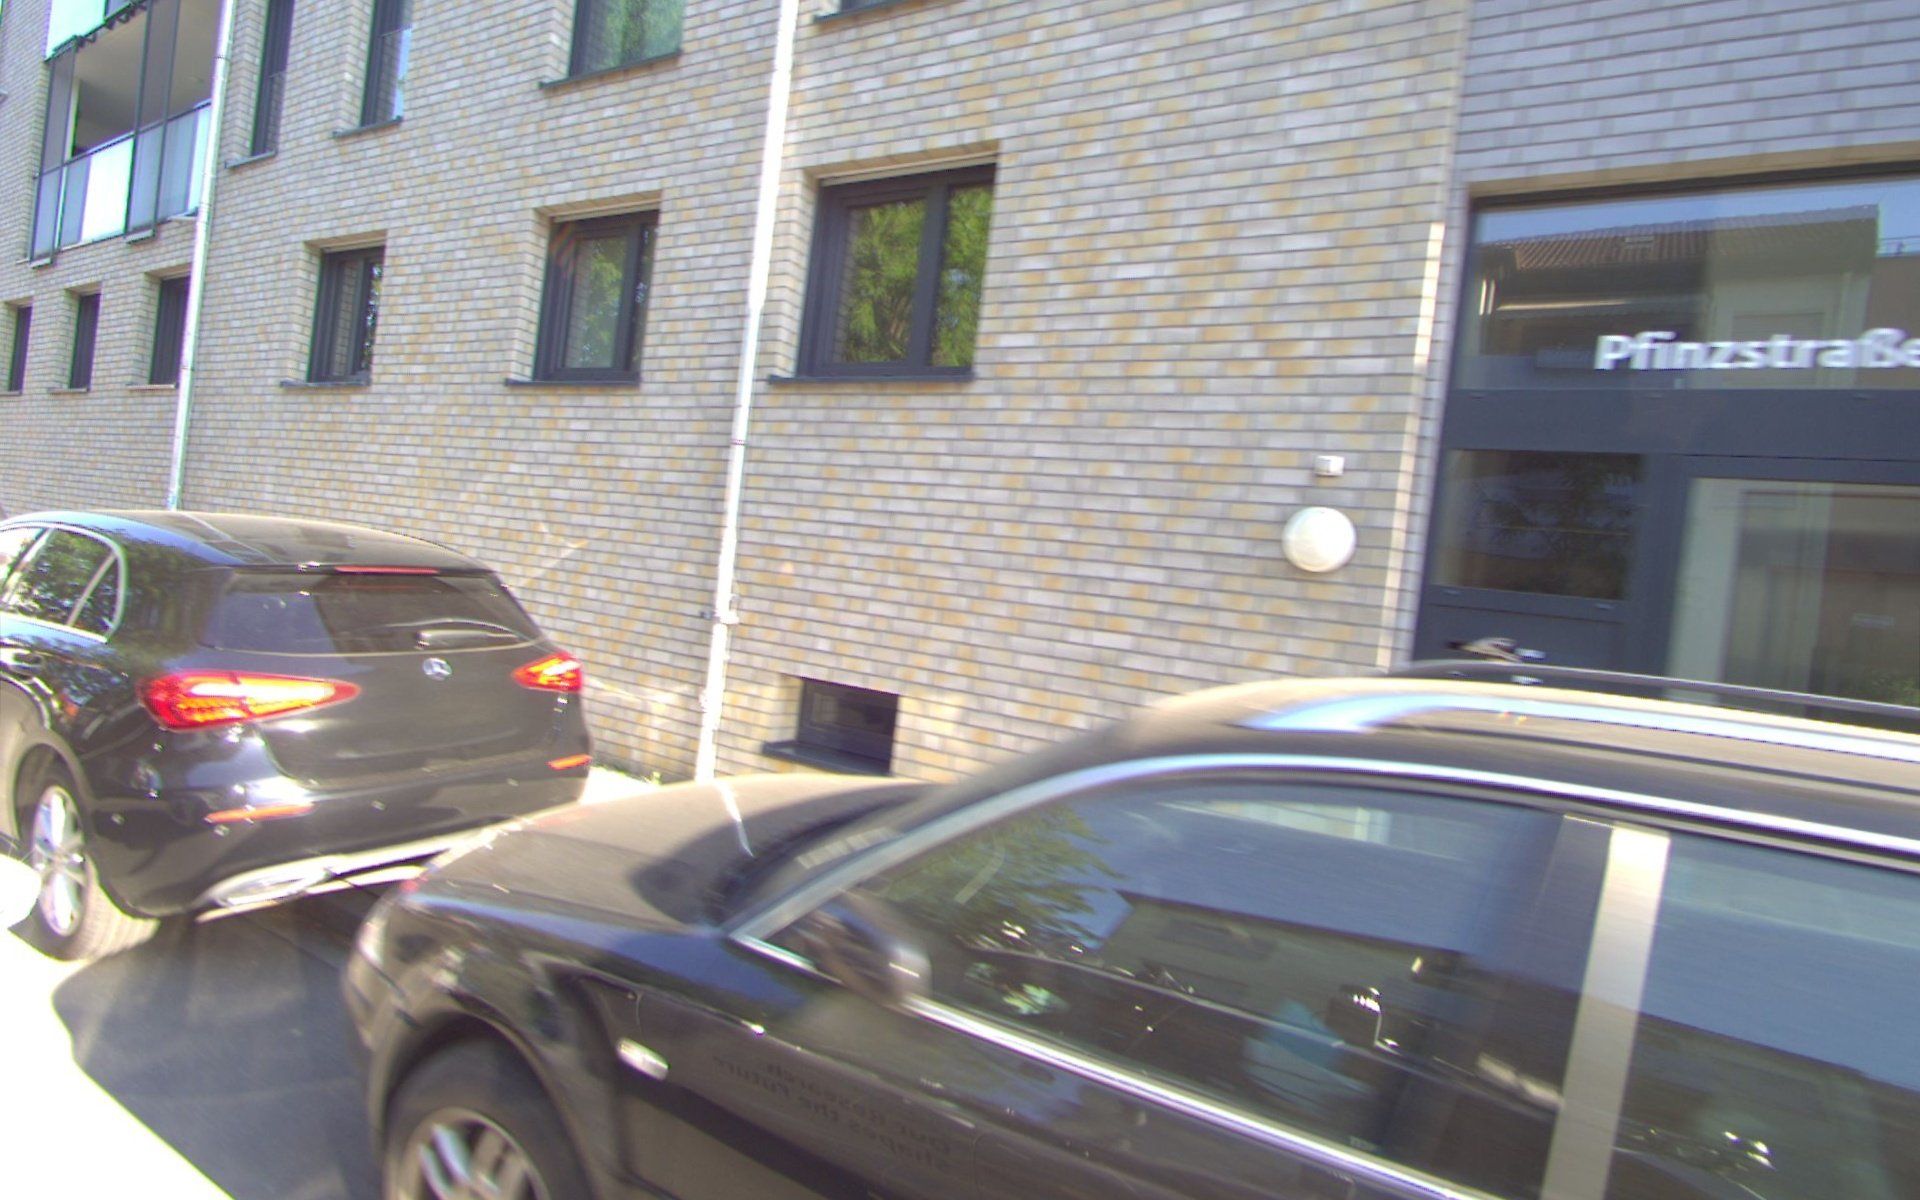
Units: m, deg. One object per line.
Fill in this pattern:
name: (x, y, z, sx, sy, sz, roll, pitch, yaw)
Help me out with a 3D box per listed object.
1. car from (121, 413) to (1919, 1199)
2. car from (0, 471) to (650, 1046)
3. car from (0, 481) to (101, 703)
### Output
car: (0.611, 0.747, 1.824, 4.757, 1.755, 1.669, 7, 1, 30)
car: (-3.724, 0.254, 4.705, 4.549, 1.551, 1.725, 7, 4, 32)
car: (-8.592, -0.269, 7.747, 4.147, 1.536, 1.665, 7, 2, 30)
